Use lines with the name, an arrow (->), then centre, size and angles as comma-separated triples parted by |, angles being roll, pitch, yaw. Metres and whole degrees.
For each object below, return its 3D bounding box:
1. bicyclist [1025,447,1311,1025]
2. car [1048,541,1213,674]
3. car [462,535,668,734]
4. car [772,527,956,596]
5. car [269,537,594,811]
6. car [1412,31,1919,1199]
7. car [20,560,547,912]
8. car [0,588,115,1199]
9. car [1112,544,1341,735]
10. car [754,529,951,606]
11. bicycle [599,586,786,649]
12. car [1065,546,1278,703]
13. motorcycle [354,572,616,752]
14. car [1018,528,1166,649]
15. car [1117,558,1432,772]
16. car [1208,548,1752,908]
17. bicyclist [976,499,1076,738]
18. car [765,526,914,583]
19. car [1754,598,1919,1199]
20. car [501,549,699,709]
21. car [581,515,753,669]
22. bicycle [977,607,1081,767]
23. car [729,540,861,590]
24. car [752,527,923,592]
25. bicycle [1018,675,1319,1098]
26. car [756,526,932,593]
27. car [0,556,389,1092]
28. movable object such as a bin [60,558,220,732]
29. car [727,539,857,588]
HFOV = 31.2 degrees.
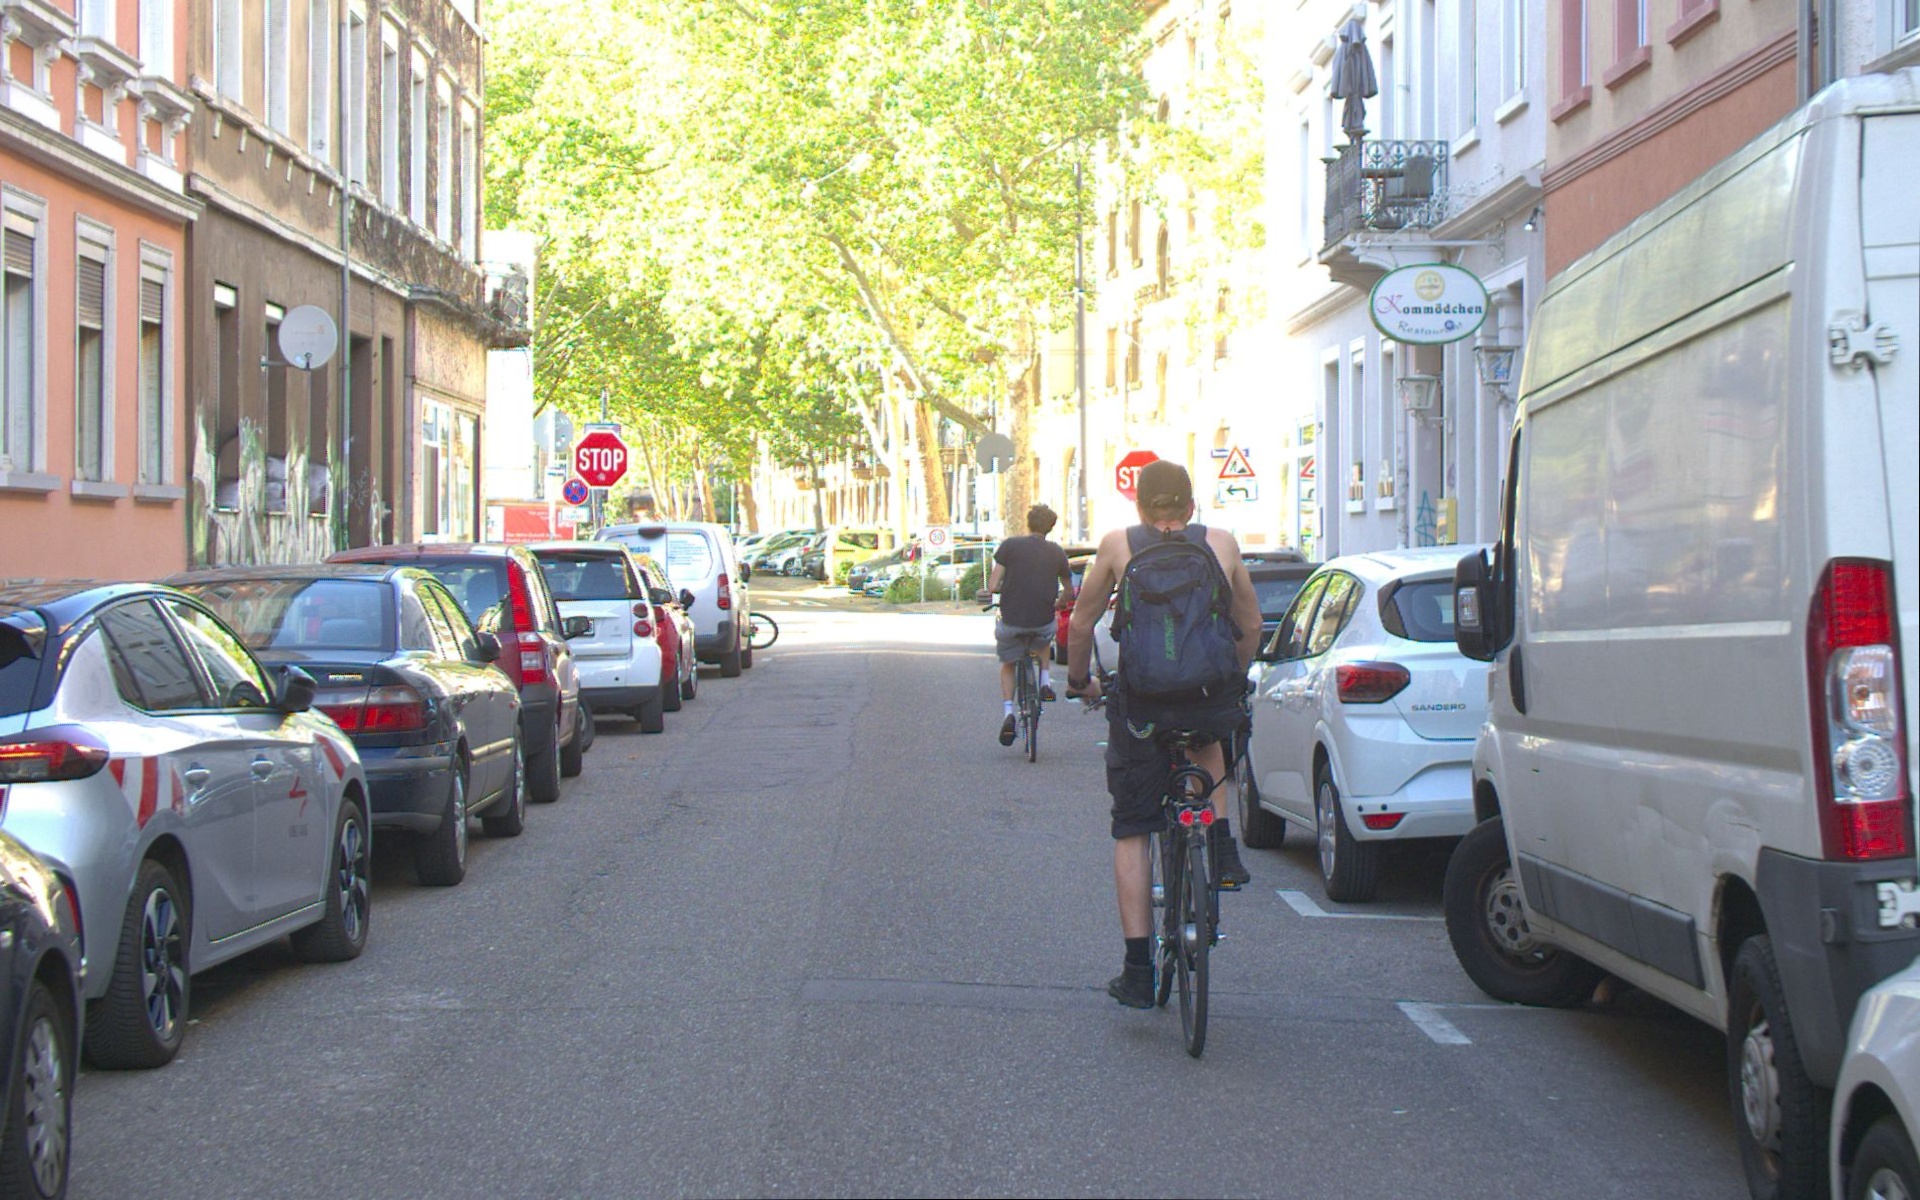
bicyclist -> 0.619, 0.390, 10.622 | 0.740, 1.673, 1.117 | 2, 1, -1
car -> 2.019, 0.061, 41.616 | 1.652, 1.525, 3.575 | 0, 1, -3
car -> -3.237, 0.234, 28.636 | 1.544, 1.545, 3.466 | 0, 1, -4
car -> -2.404, -0.966, 85.573 | 4.468, 1.690, 1.867 | 0, 1, -5
car -> -3.185, 0.388, 21.262 | 1.604, 1.525, 3.379 | -1, 1, -3
car -> 2.717, 0.104, 9.691 | 2.204, 2.542, 6.036 | 0, 1, 1
car -> -3.043, 0.534, 16.304 | 1.706, 1.409, 4.302 | 0, 1, -1
car -> -2.790, 0.728, 6.271 | 1.592, 1.435, 3.654 | 0, 1, 0
car -> 2.189, 0.282, 29.053 | 1.592, 1.487, 3.876 | 0, 1, 0
car -> -2.525, -0.771, 80.088 | 4.468, 1.753, 1.867 | 0, 1, -5
bicycle -> -3.906, 0.255, 50.361 | 2.715, 0.889, 0.619 | 0, 1, -3
car -> 2.062, 0.201, 34.510 | 1.710, 1.465, 4.001 | 0, 1, -3
motorcycle -> -3.442, 0.435, 24.885 | 1.795, 1.251, 0.710 | -1, 1, -15
car -> 1.982, -0.211, 52.605 | 1.893, 1.763, 4.001 | 0, 1, -3
car -> 2.102, 0.389, 23.961 | 1.657, 1.334, 4.001 | 0, 1, -3
car -> 2.304, 0.497, 16.257 | 1.731, 1.465, 4.022 | 0, 1, -4
bicyclist -> 0.461, 0.118, 24.242 | 0.669, 1.653, 0.877 | 0, 1, -1
car -> -3.695, -1.399, 105.123 | 4.468, 1.690, 1.867 | 0, 1, -5
car -> 2.362, 0.741, 4.285 | 1.725, 1.424, 3.833 | 0, 1, -2
car -> -3.338, 0.232, 32.401 | 1.552, 1.395, 3.668 | 0, 1, -1
car -> -3.435, -0.127, 40.834 | 1.787, 1.731, 3.876 | 0, 1, -1
bicycle -> 0.473, 0.590, 24.256 | 0.664, 1.034, 1.959 | 0, 1, -1
car -> -5.690, -1.205, 118.358 | 4.468, 1.690, 1.867 | 0, 1, -5
car -> -3.291, -1.094, 91.945 | 4.468, 1.690, 1.867 | 0, 1, -5
bicycle -> 0.609, 0.836, 10.772 | 0.740, 1.097, 2.042 | 2, 1, -1
car -> -3.044, -1.062, 89.560 | 4.468, 1.690, 1.867 | 0, 1, -5
car -> -3.073, 0.584, 11.244 | 1.674, 1.425, 3.888 | 0, 1, 1
movable object such as a bin -> -5.686, 0.302, 23.869 | 0.834, 1.122, 0.716 | -5, 1, 2
car -> -5.894, -1.281, 120.530 | 4.468, 1.690, 1.867 | 0, 1, -5
